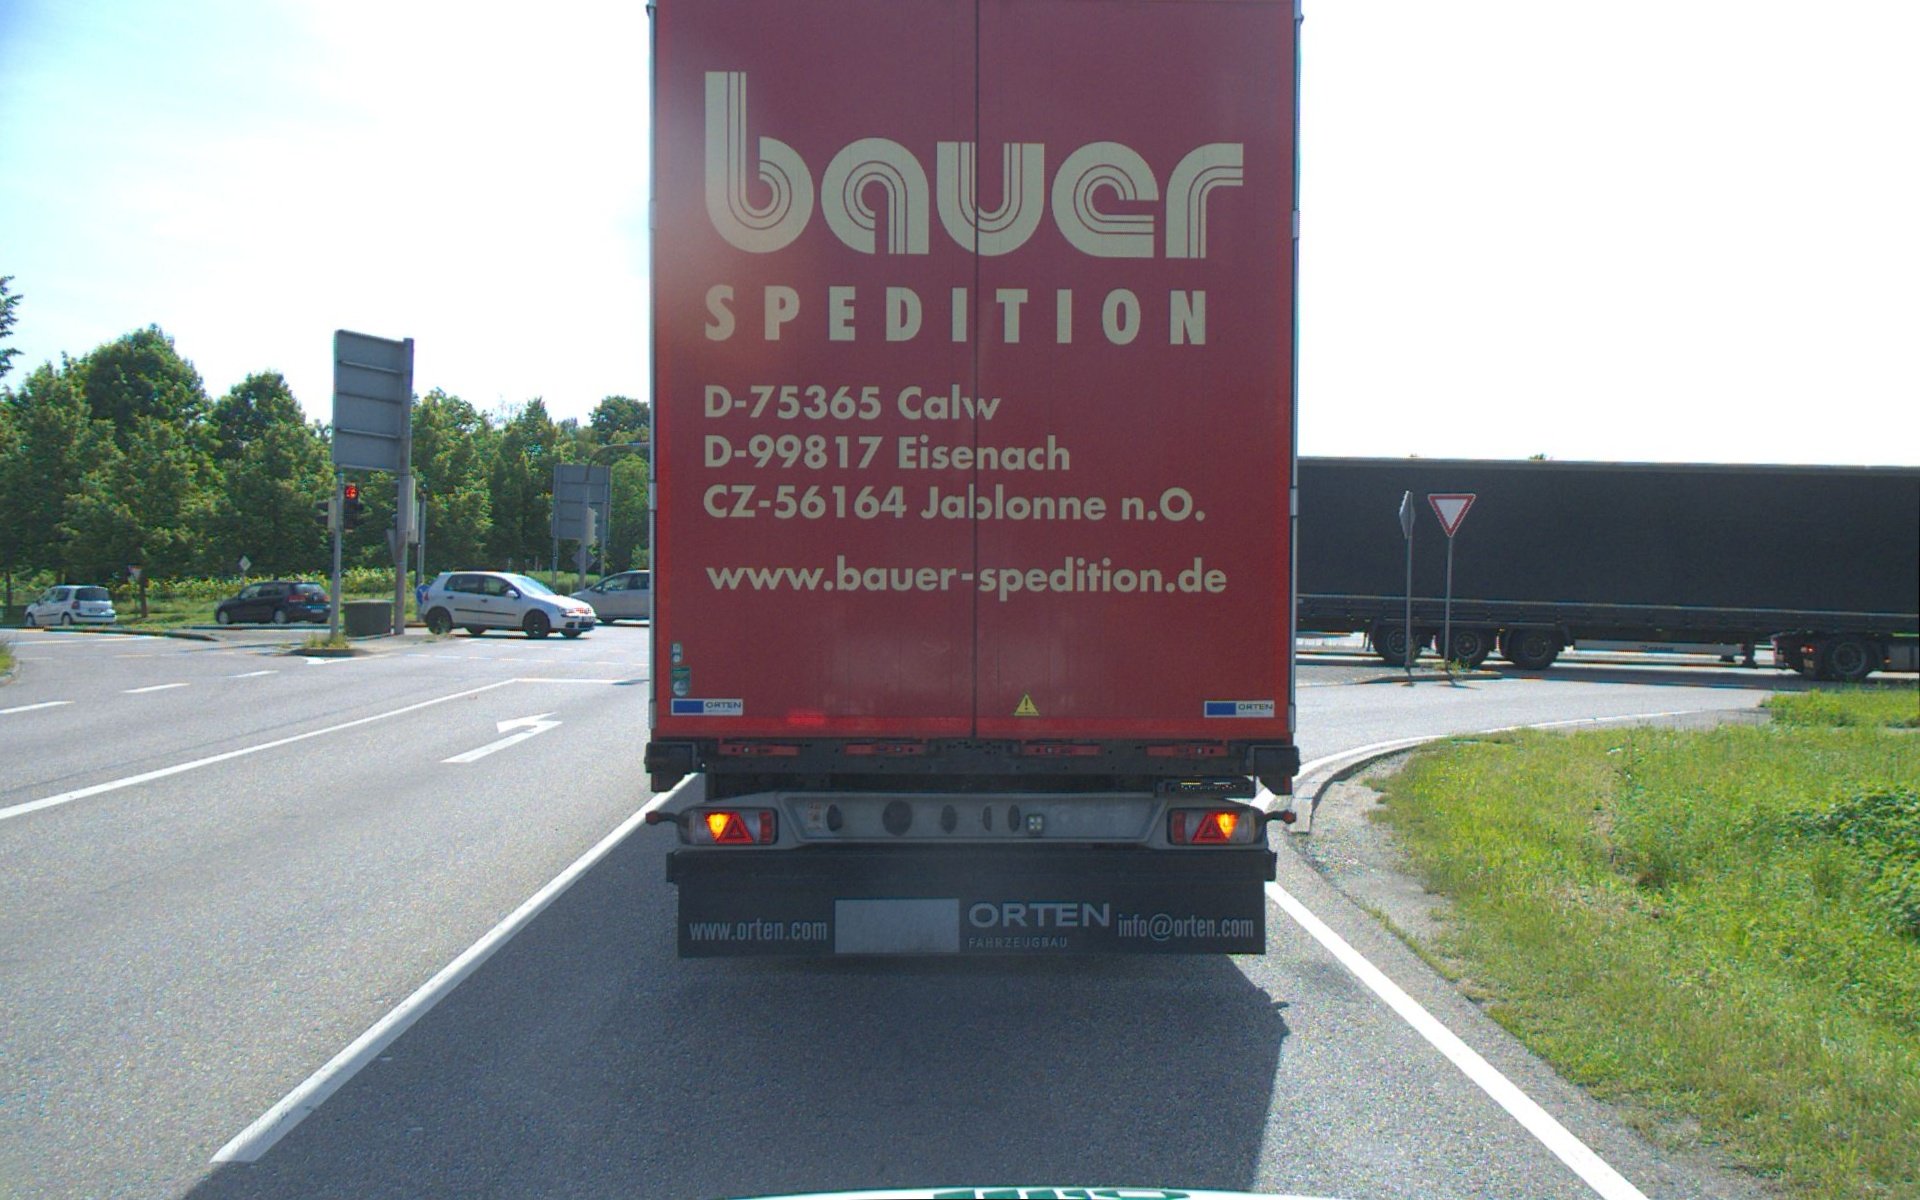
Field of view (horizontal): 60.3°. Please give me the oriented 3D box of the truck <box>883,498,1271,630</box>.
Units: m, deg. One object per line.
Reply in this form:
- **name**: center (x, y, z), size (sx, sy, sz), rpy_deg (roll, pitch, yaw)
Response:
- **truck**: center (3.573, -1.288, 56.159), size (14.065, 4.049, 3.011), rpy_deg (2, 1, 40)

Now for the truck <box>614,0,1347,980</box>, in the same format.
- **truck**: center (-0.072, -0.686, 14.437), size (2.679, 3.993, 16.622), rpy_deg (1, 1, -1)

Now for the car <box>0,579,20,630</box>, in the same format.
- **car**: center (-27.497, 0.090, 44.632), size (4.185, 1.327, 1.740), rpy_deg (2, 2, 28)

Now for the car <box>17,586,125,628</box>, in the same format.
- **car**: center (-31.979, 0.247, 59.508), size (3.777, 1.381, 1.673), rpy_deg (1, -1, 30)

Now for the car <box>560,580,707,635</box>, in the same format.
- **car**: center (-9.488, 0.218, 48.128), size (3.910, 1.517, 1.539), rpy_deg (1, -1, 15)

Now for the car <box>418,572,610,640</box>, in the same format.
- **car**: center (-10.384, 0.112, 38.553), size (3.949, 1.441, 1.796), rpy_deg (1, 1, 15)

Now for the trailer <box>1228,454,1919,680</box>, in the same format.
- **trailer**: center (12.222, -0.738, 33.054), size (13.392, 4.132, 2.801), rpy_deg (1, 1, 11)

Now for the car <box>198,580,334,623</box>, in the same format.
- **car**: center (-22.402, 0.041, 53.391), size (4.184, 1.328, 1.740), rpy_deg (1, 0, 27)

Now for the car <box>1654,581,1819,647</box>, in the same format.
- **car**: center (21.085, 0.368, 45.061), size (3.905, 1.624, 1.665), rpy_deg (2, 0, 21)

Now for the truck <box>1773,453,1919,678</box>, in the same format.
- **truck**: center (19.140, -0.626, 31.709), size (5.701, 4.132, 2.801), rpy_deg (1, 1, 8)
